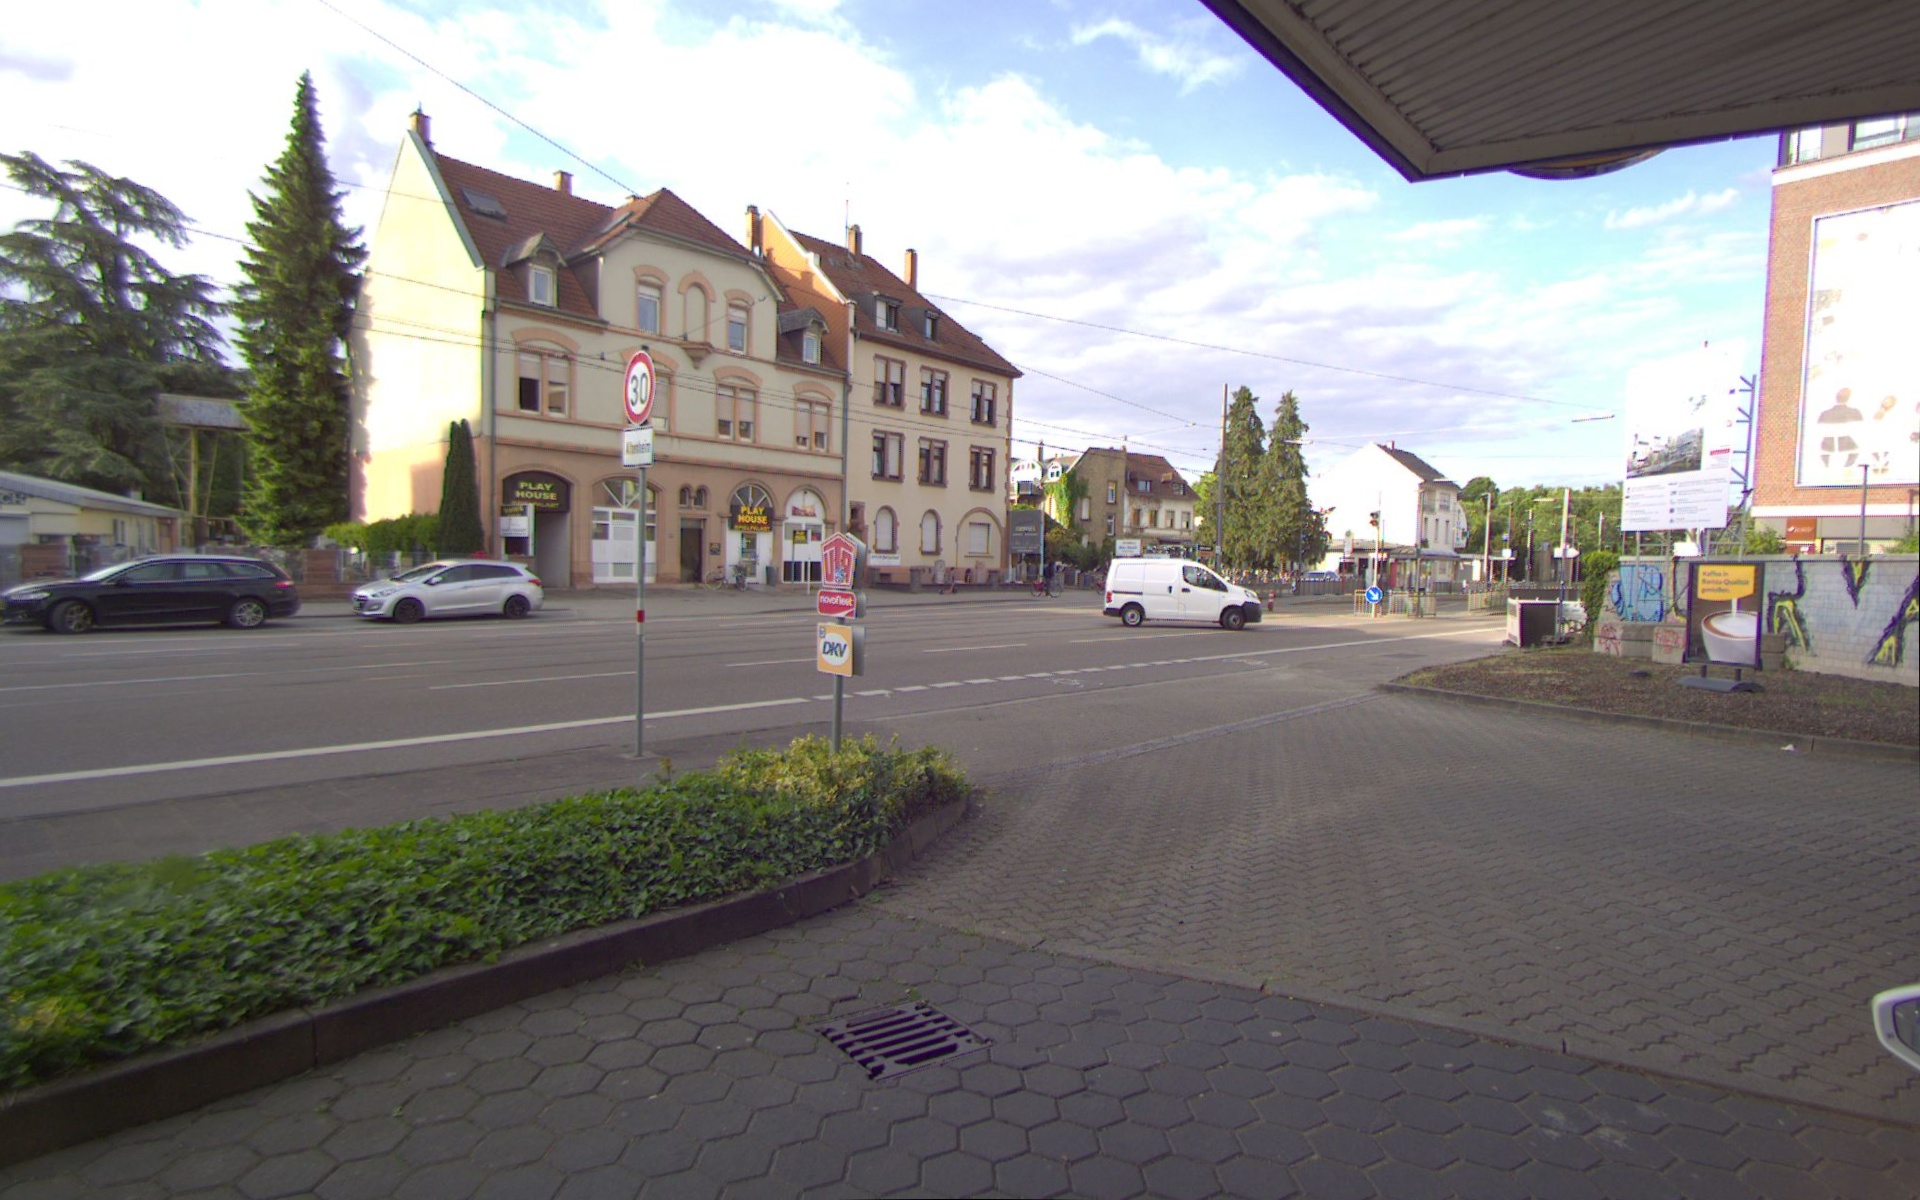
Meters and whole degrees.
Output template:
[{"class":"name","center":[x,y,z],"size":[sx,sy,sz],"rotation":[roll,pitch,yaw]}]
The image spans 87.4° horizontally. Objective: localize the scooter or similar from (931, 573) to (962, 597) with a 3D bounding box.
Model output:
[{"class":"scooter or similar","center":[-0.602,-0.686,45.127],"size":[0.488,1.015,1.592],"rotation":[5,5,39]}]

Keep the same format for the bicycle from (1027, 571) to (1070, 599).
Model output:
[{"class":"bicycle","center":[4.296,-0.720,48.649],"size":[1.884,1.219,0.839],"rotation":[1,6,-31]}]

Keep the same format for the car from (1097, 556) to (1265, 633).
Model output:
[{"class":"car","center":[6.082,-0.183,27.915],"size":[4.322,1.915,1.969],"rotation":[2,2,11]}]

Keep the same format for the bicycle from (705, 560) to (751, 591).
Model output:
[{"class":"bicycle","center":[-9.147,-0.951,39.701],"size":[0.508,1.189,1.809],"rotation":[4,2,40]}]

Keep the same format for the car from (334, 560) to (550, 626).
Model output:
[{"class":"car","center":[-13.006,-0.242,25.457],"size":[1.970,1.495,4.467],"rotation":[3,3,40]}]

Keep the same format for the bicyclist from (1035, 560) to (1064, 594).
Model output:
[{"class":"bicyclist","center":[4.327,-1.111,48.601],"size":[0.953,1.579,0.839],"rotation":[1,6,-31]}]

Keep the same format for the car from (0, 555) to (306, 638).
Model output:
[{"class":"car","center":[-16.575,-0.144,20.724],"size":[1.970,1.516,4.801],"rotation":[3,3,40]}]

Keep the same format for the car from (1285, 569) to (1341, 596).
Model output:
[{"class":"car","center":[22.035,-1.114,62.590],"size":[1.814,1.598,4.358],"rotation":[2,3,41]}]

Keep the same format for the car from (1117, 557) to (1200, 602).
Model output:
[{"class":"car","center":[9.541,-1.006,47.994],"size":[1.968,1.995,4.870],"rotation":[2,3,36]}]
